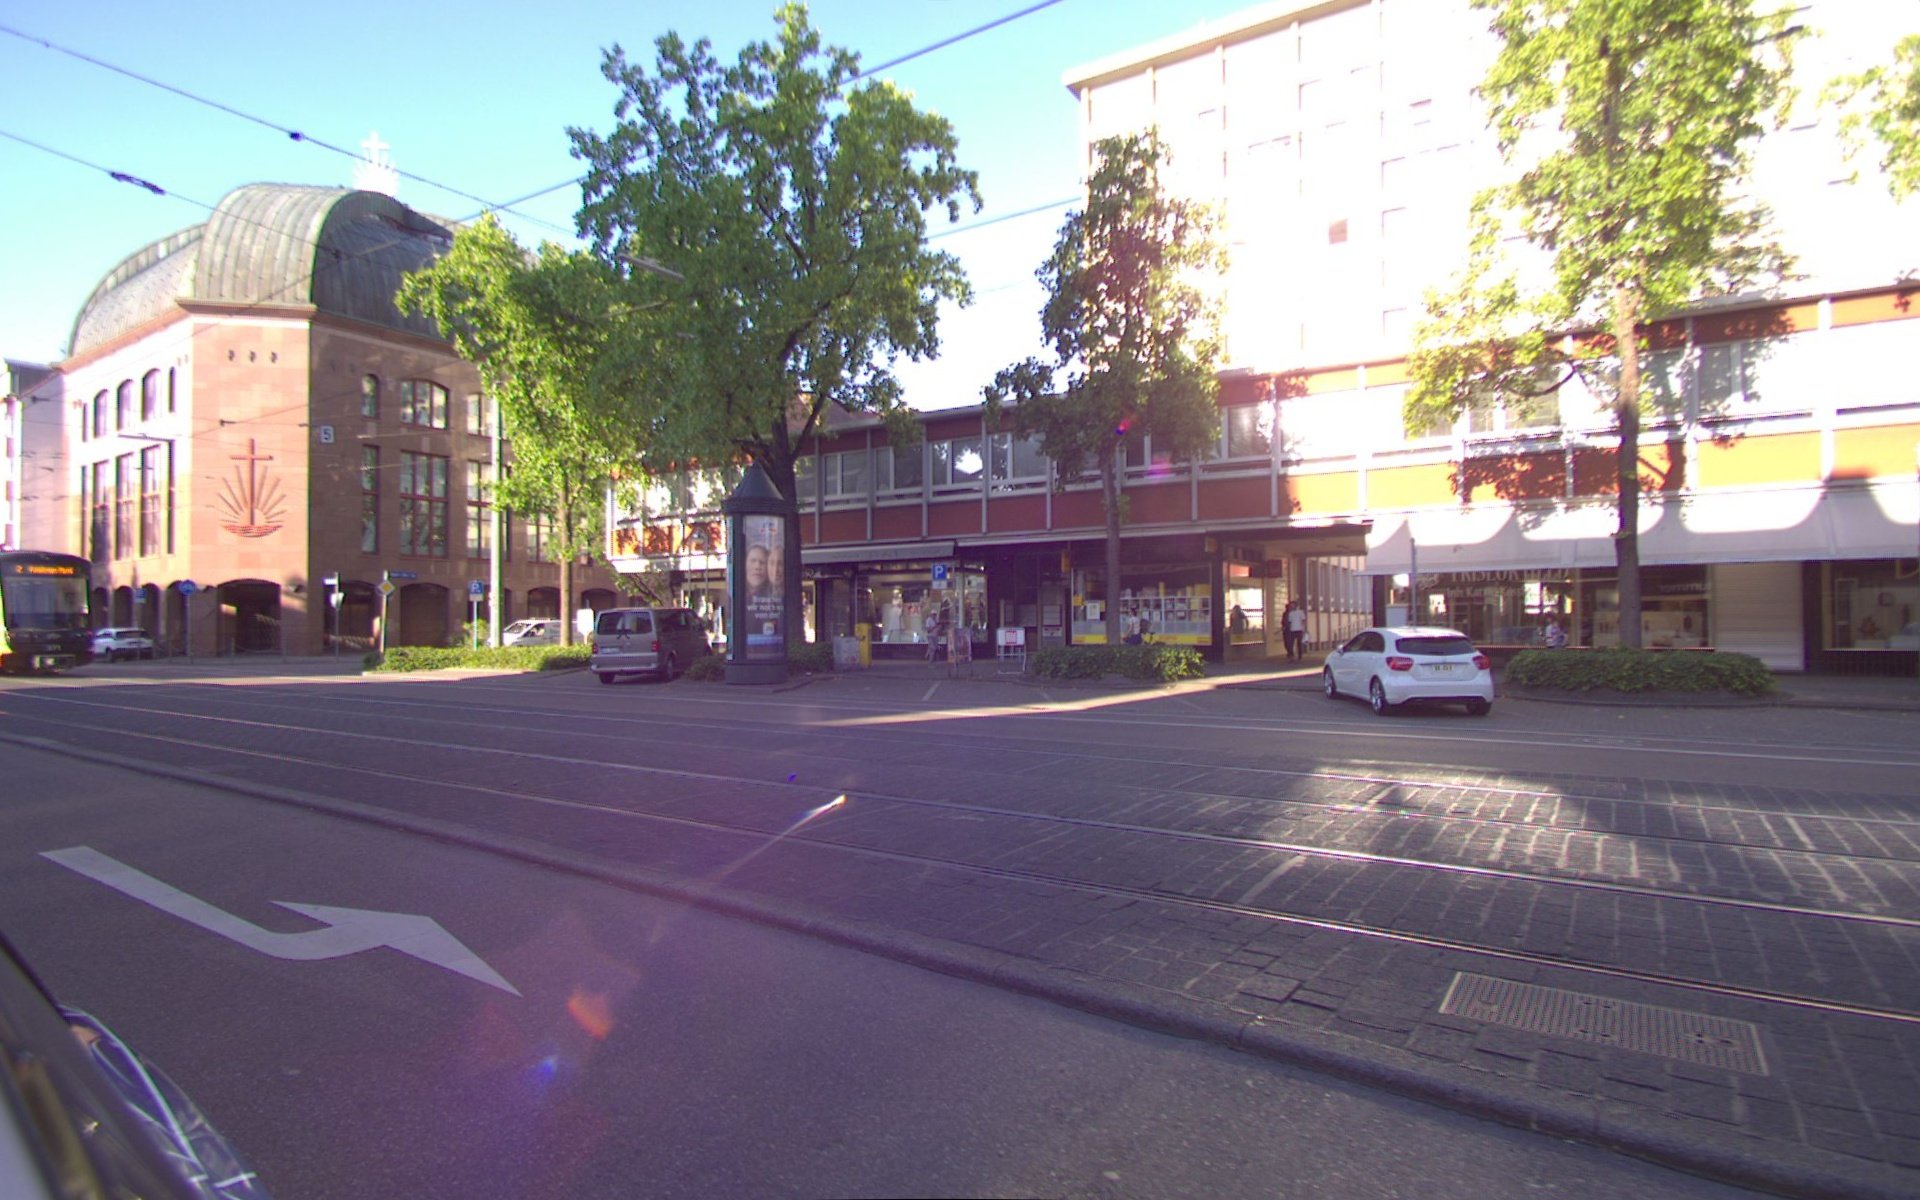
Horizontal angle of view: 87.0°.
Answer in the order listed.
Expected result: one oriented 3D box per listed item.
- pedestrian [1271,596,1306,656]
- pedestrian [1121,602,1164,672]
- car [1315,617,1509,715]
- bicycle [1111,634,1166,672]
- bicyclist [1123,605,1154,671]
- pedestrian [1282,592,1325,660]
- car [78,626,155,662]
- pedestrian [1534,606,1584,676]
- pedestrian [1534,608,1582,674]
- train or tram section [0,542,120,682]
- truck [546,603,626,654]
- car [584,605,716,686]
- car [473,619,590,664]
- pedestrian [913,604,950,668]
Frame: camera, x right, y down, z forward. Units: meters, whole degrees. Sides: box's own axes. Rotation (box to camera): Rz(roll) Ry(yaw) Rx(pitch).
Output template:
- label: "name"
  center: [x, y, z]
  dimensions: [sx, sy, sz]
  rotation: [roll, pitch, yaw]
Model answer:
- label: "pedestrian"
  center: [10.653, 0.847, 32.796]
  dimensions: [0.915, 1.892, 0.891]
  rotation: [-1, -2, 28]
- label: "pedestrian"
  center: [5.048, 1.014, 27.979]
  dimensions: [0.897, 1.892, 0.909]
  rotation: [-1, -2, 32]
- label: "car"
  center: [7.842, 1.077, 18.036]
  dimensions: [1.744, 1.440, 4.265]
  rotation: [-1, 0, 4]
- label: "bicycle"
  center: [5.025, 1.489, 28.554]
  dimensions: [1.479, 1.033, 0.491]
  rotation: [-1, -2, 9]
- label: "bicyclist"
  center: [5.034, 1.081, 28.563]
  dimensions: [0.818, 1.836, 0.490]
  rotation: [-1, -2, 8]
- label: "pedestrian"
  center: [10.053, 0.765, 29.590]
  dimensions: [0.993, 1.963, 0.890]
  rotation: [-2, -2, 33]
- label: "car"
  center: [-40.228, 2.062, 48.245]
  dimensions: [4.264, 1.602, 1.583]
  rotation: [-1, 0, 33]
- label: "pedestrian"
  center: [13.313, 0.908, 22.494]
  dimensions: [0.897, 1.509, 0.682]
  rotation: [-1, -2, 32]
- label: "pedestrian"
  center: [13.664, 0.930, 23.109]
  dimensions: [0.897, 1.481, 0.682]
  rotation: [-1, -2, 32]
- label: "train or tram section"
  center: [-29.315, 0.435, 30.545]
  dimensions: [12.809, 3.578, 2.653]
  rotation: [-1, -2, 35]
- label: "truck"
  center: [-21.130, 1.603, 57.117]
  dimensions: [4.513, 2.784, 1.837]
  rotation: [-1, -2, 30]
- label: "car"
  center: [-8.354, 1.155, 27.798]
  dimensions: [1.829, 1.943, 5.118]
  rotation: [-1, 0, 3]
- label: "car"
  center: [-20.908, 1.988, 49.630]
  dimensions: [2.126, 1.982, 4.940]
  rotation: [2, 0, 32]
- label: "pedestrian"
  center: [-0.852, 1.083, 30.378]
  dimensions: [0.891, 1.892, 0.915]
  rotation: [-1, -2, 14]
